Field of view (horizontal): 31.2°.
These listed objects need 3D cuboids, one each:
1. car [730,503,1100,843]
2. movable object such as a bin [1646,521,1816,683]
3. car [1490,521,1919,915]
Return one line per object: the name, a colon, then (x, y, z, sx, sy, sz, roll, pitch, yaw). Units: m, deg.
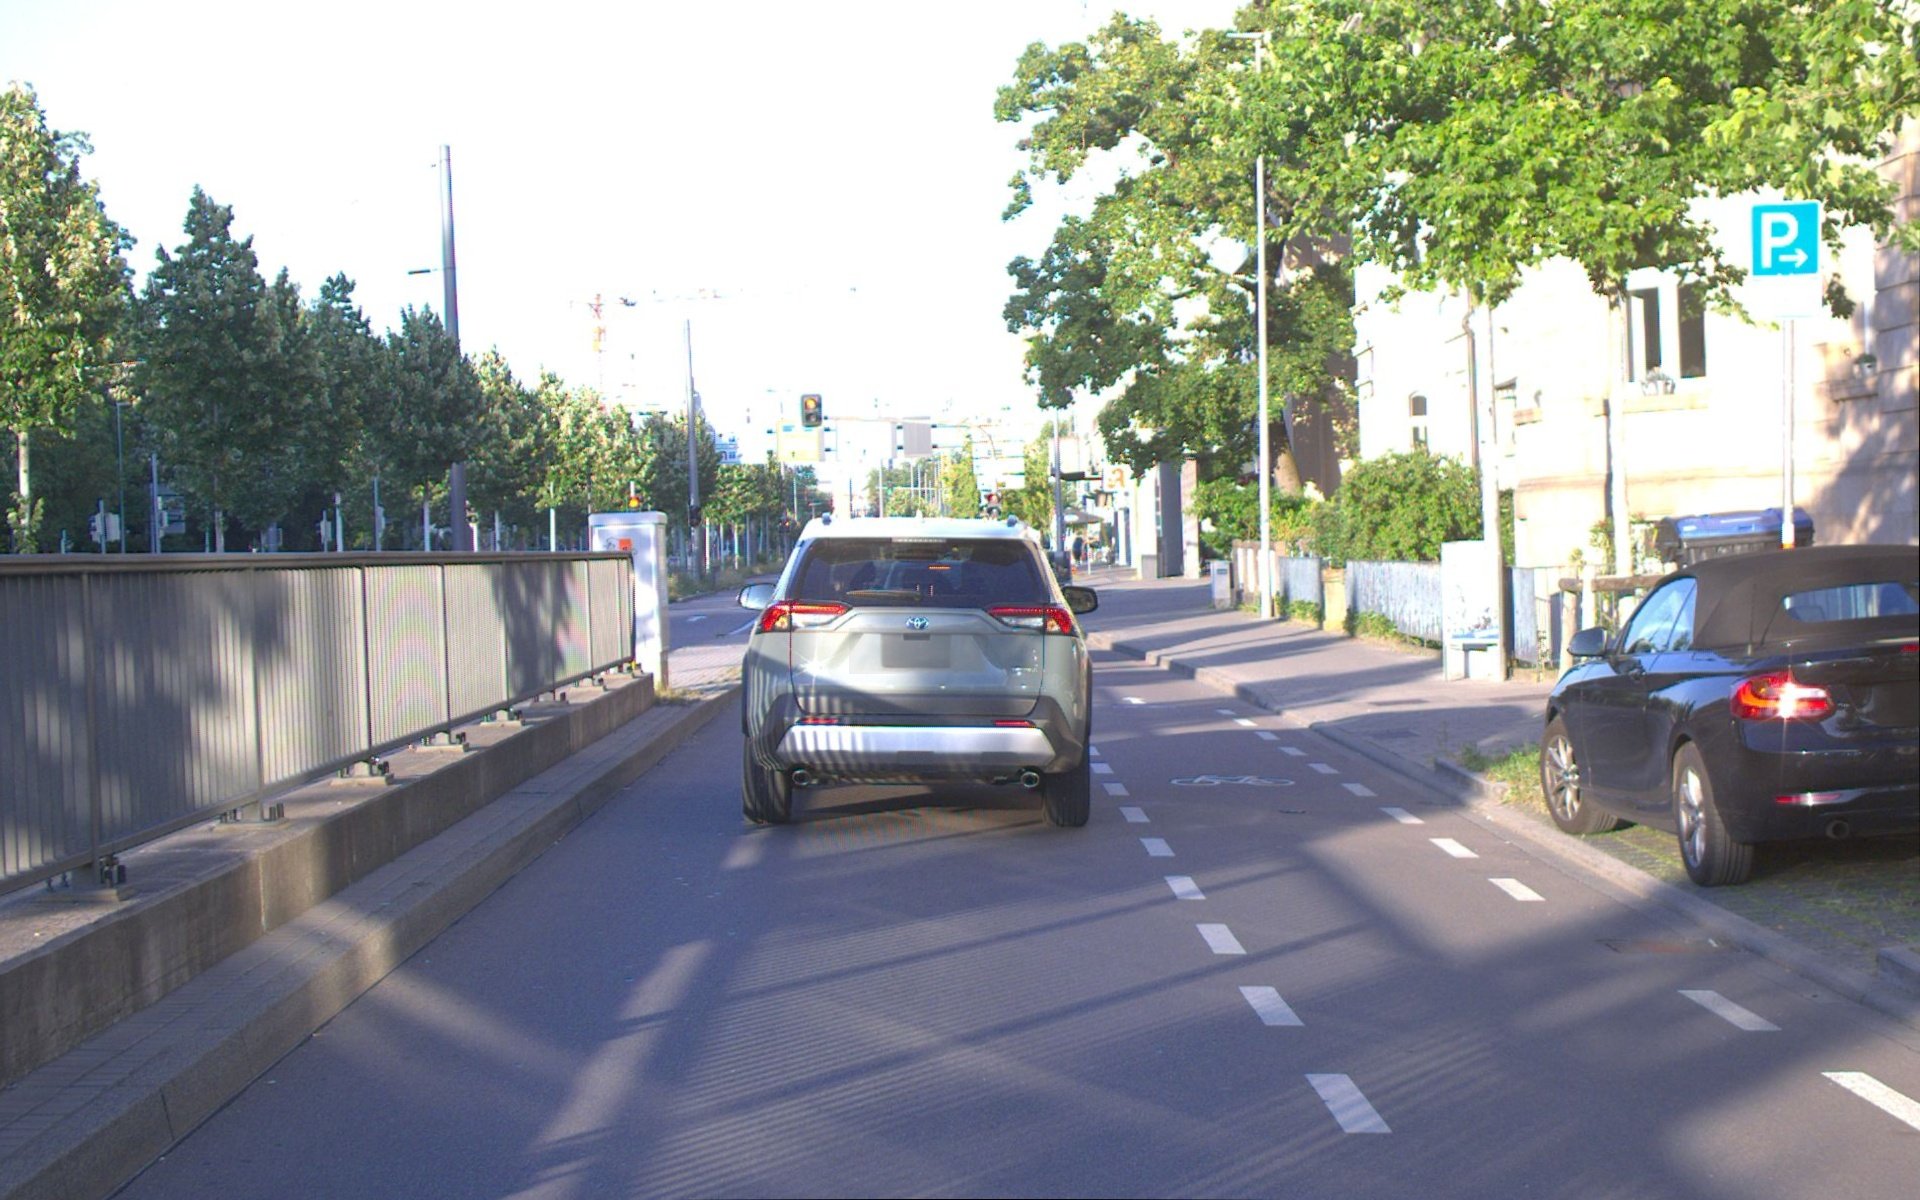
car: (-0.302, 0.335, 19.479, 1.857, 1.708, 4.193, 0, 1, -2)
movable object such as a bin: (7.152, 0.007, 31.940, 1.260, 1.457, 1.124, -1, 1, -3)
car: (3.884, 0.425, 16.108, 1.792, 1.466, 4.446, -4, 1, -3)
